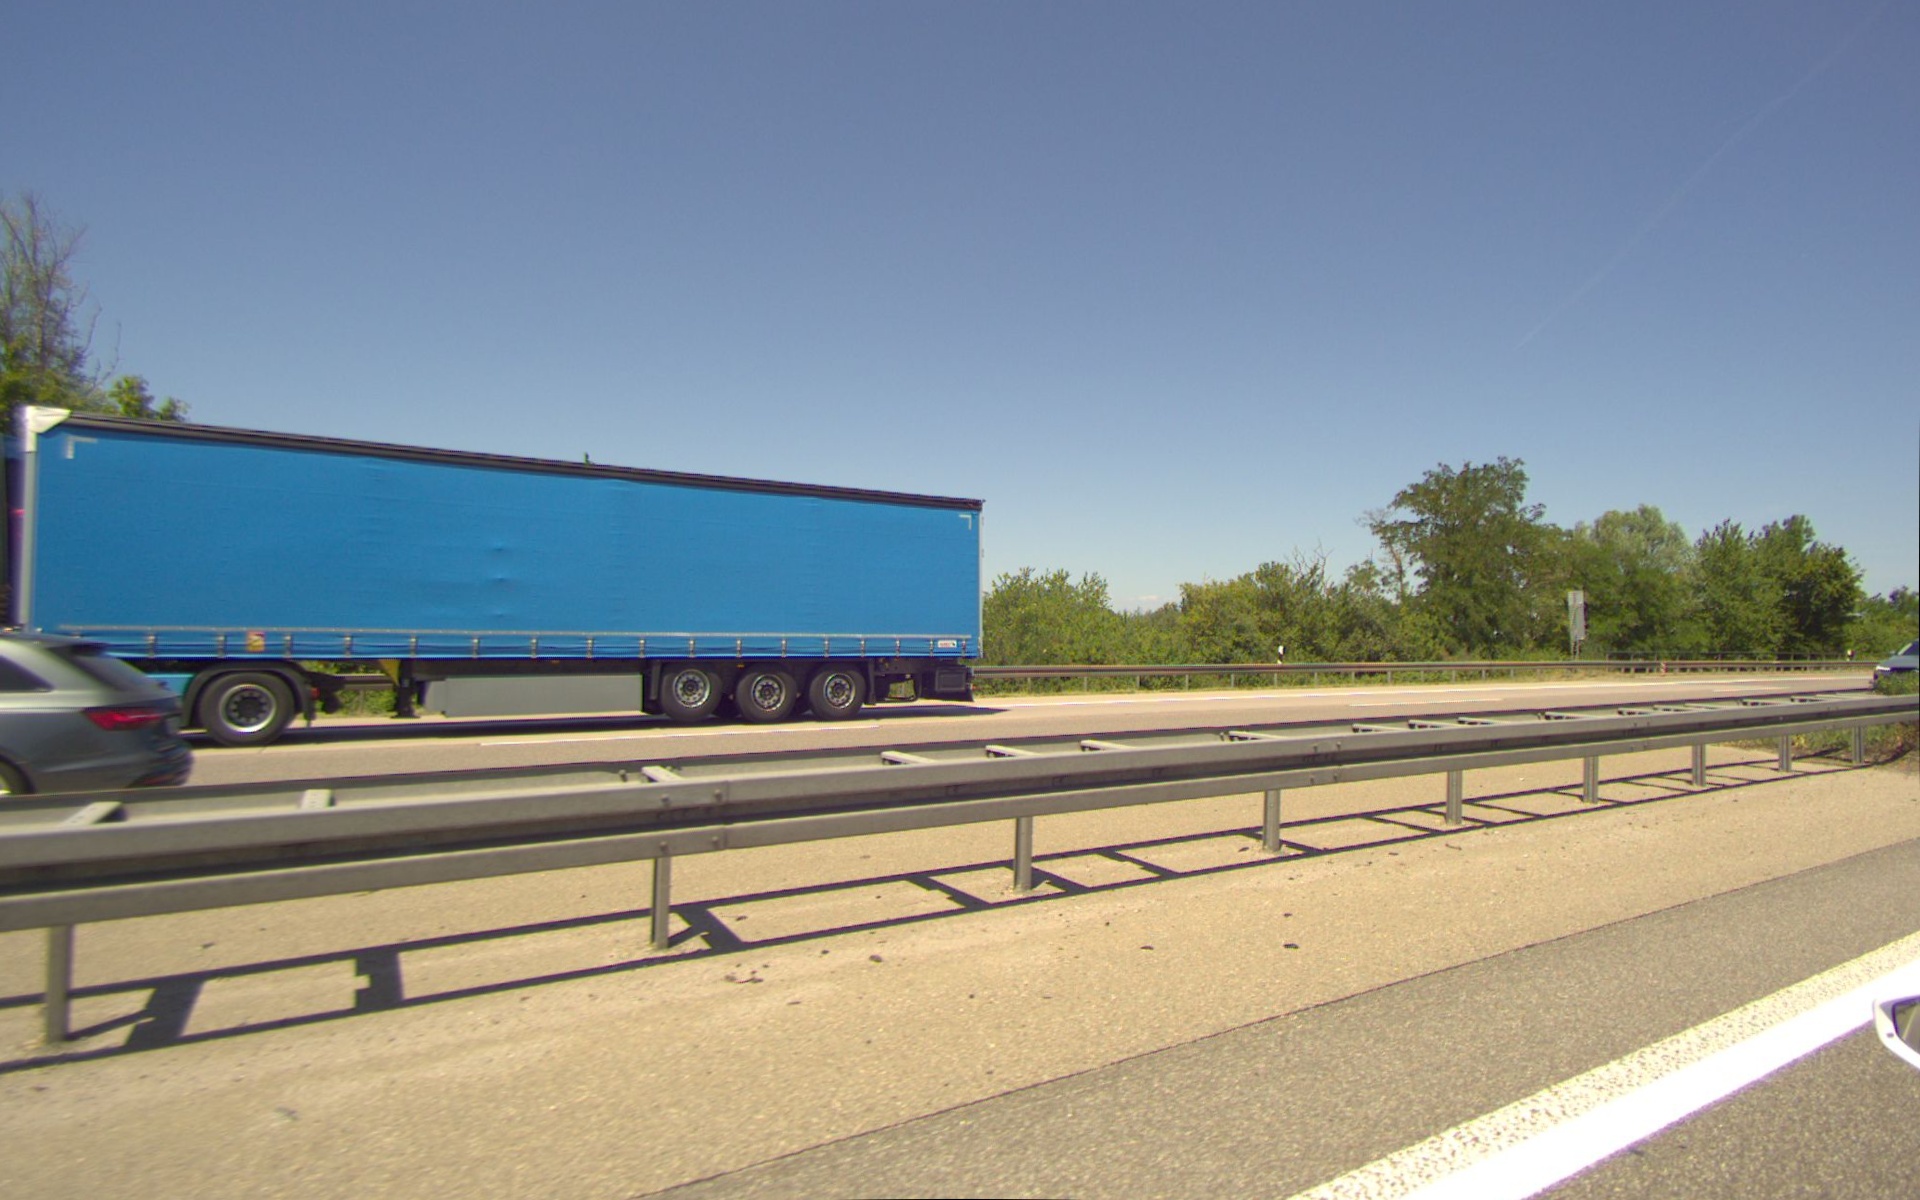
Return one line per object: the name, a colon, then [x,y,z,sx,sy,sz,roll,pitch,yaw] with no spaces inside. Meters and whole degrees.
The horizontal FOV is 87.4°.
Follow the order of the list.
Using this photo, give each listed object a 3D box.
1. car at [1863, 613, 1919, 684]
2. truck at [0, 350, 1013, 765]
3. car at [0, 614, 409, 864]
car: [26.032,1.275,26.465,5.050,1.753,1.983,2,-2,-31]
truck: [-6.877,-0.268,16.095,16.674,4.781,3.209,2,-4,-32]
car: [-6.473,0.852,6.798,4.732,1.503,1.983,2,-2,-31]
